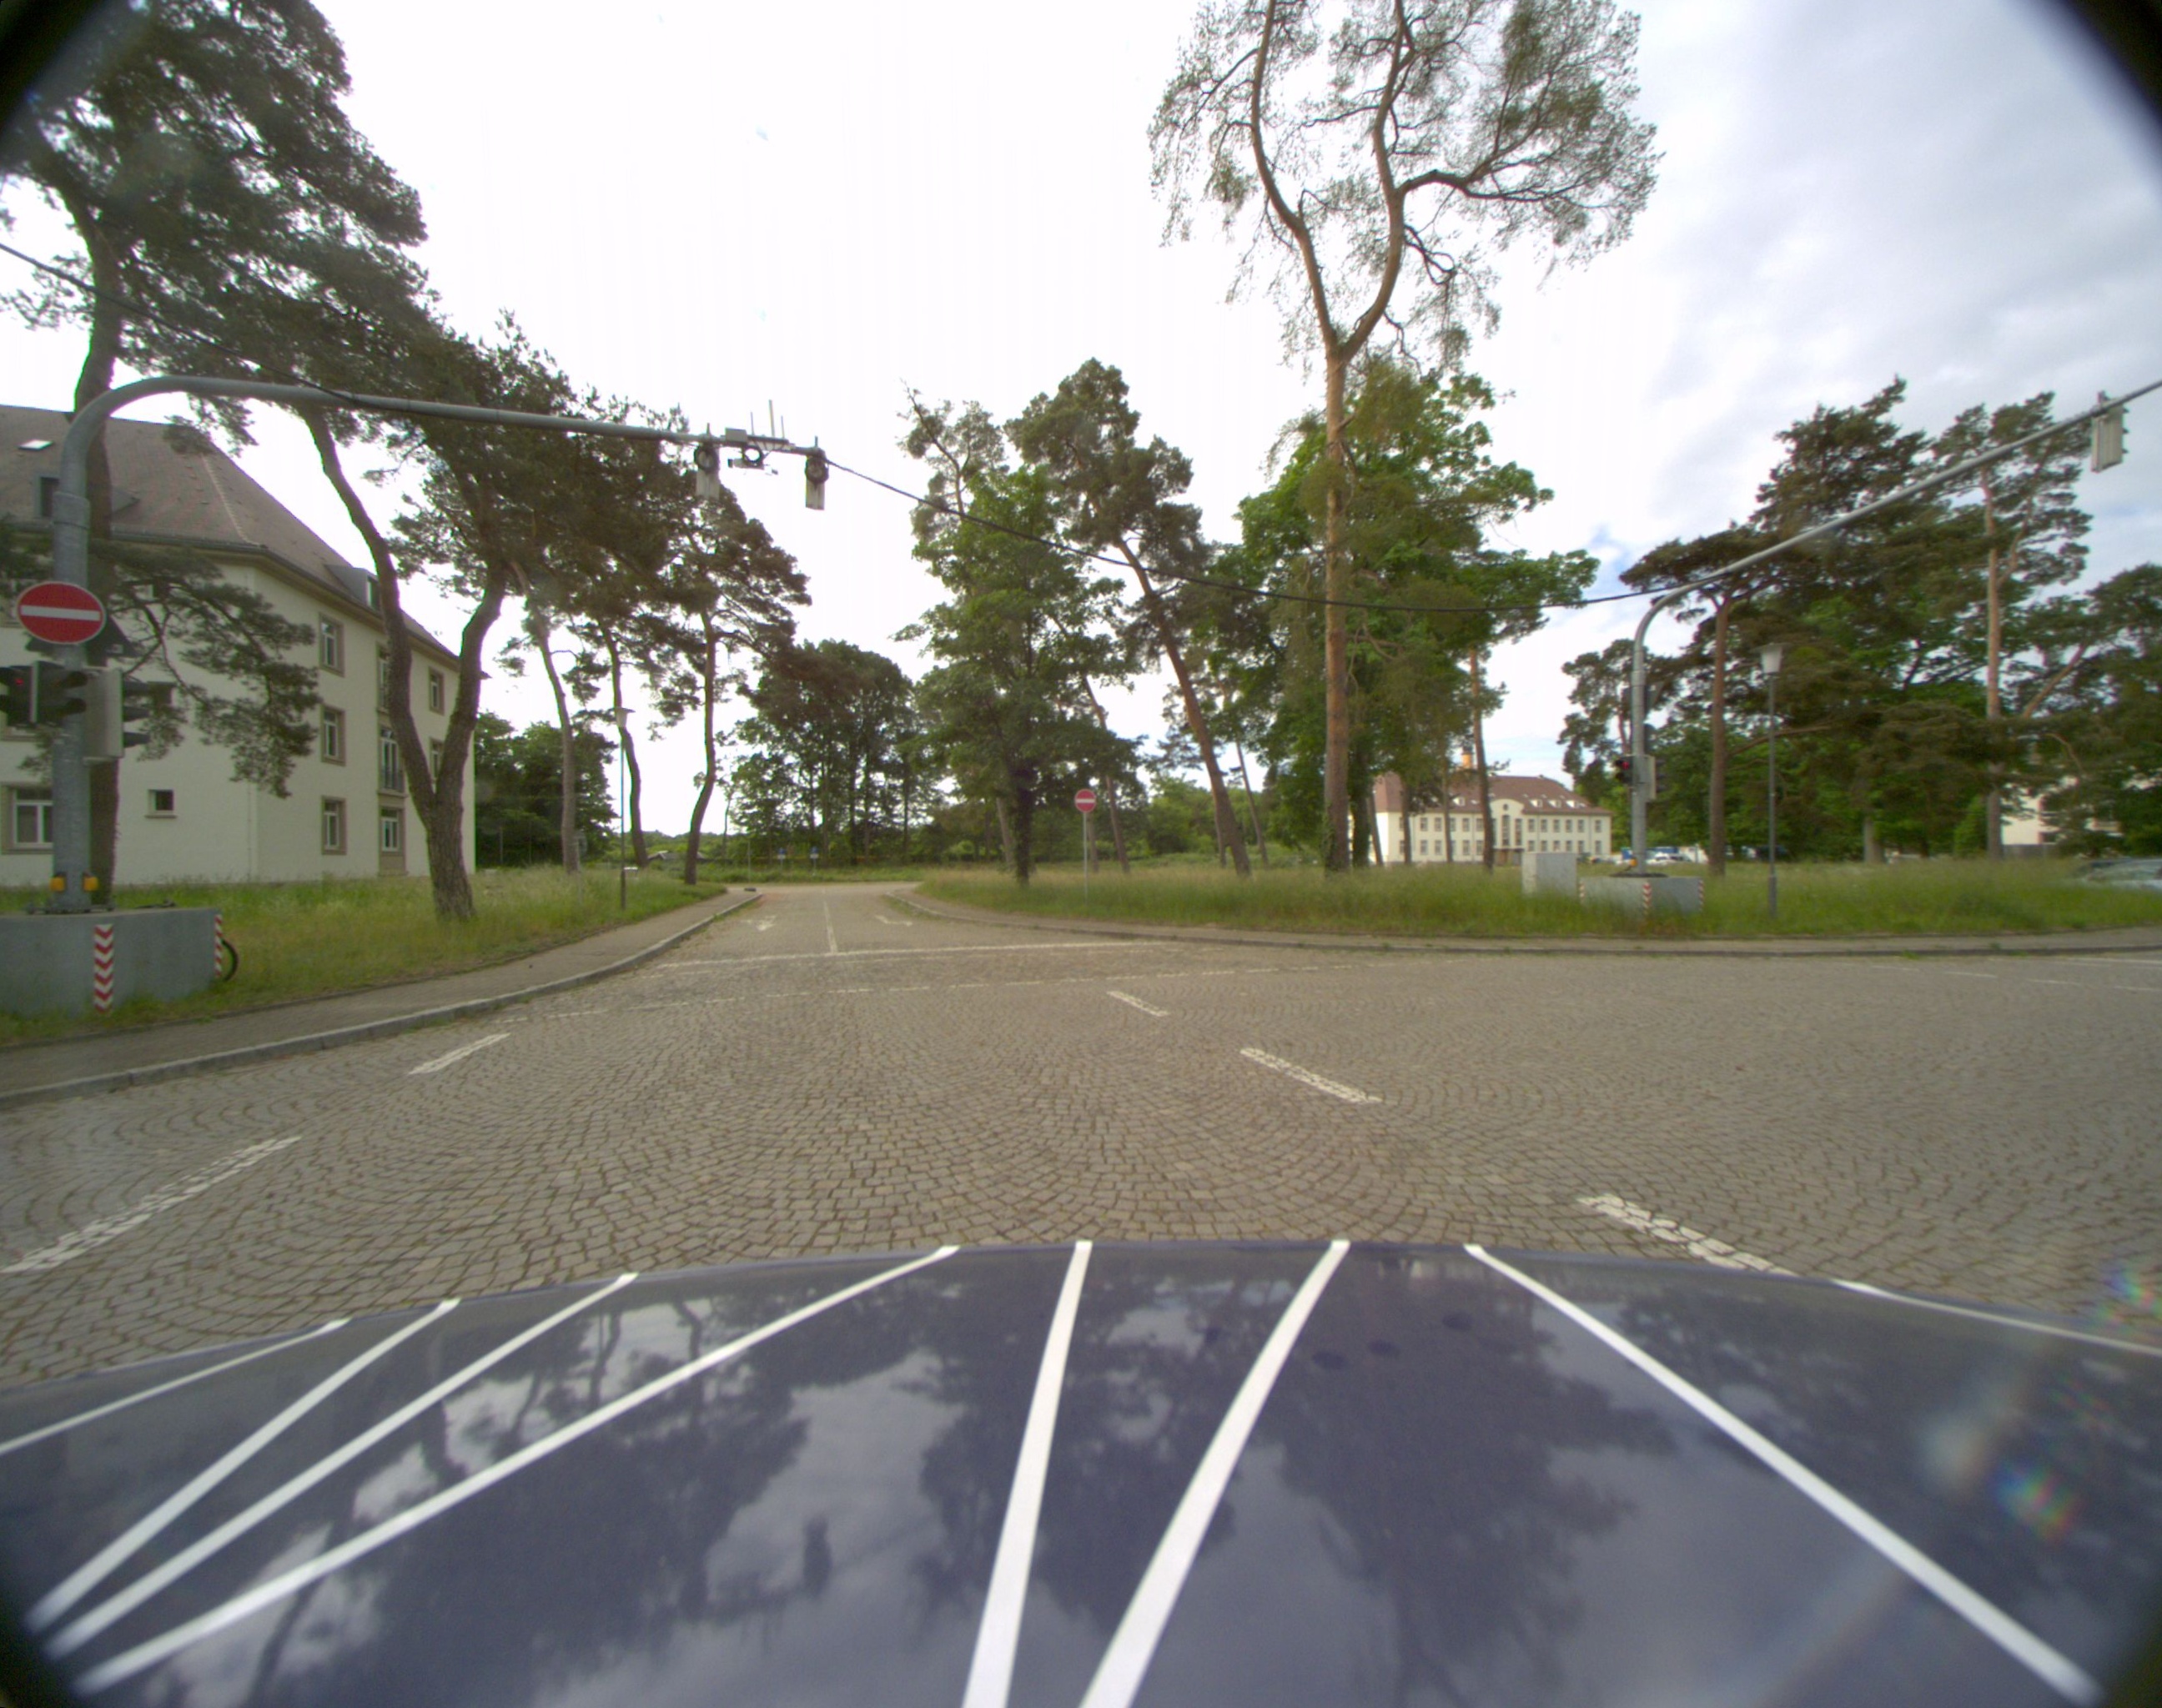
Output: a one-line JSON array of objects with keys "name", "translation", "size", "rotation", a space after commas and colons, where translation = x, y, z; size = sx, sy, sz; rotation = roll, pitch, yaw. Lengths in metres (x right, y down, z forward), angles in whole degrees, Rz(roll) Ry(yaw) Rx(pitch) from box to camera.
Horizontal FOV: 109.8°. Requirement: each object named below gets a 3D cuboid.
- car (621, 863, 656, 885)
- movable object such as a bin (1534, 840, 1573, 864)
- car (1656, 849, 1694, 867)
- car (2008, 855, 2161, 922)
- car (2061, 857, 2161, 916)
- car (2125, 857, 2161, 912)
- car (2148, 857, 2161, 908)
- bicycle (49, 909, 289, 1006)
[{"name": "car", "translation": [-31.377, 1.417, 53.954], "size": [1.489, 1.428, 3.191], "rotation": [-1, -1, -17]}, {"name": "movable object such as a bin", "translation": [77.006, -0.341, 123.848], "size": [2.054, 3.747, 5.457], "rotation": [-1, -1, -15]}, {"name": "car", "translation": [81.259, 0.571, 103.892], "size": [4.451, 2.350, 1.861], "rotation": [-1, -1, -18]}, {"name": "car", "translation": [25.071, 0.805, 17.711], "size": [1.699, 1.421, 4.005], "rotation": [0, 2, -20]}, {"name": "car", "translation": [27.615, 0.871, 18.393], "size": [1.665, 1.376, 4.433], "rotation": [0, 2, -20]}, {"name": "car", "translation": [30.252, 0.847, 19.169], "size": [1.718, 1.465, 4.244], "rotation": [0, 1, -16]}, {"name": "car", "translation": [32.476, 0.851, 20.345], "size": [1.718, 1.473, 4.180], "rotation": [0, 1, -18]}, {"name": "bicycle", "translation": [-10.089, 1.125, 8.477], "size": [1.678, 0.965, 0.581], "rotation": [1, 2, -15]}]
